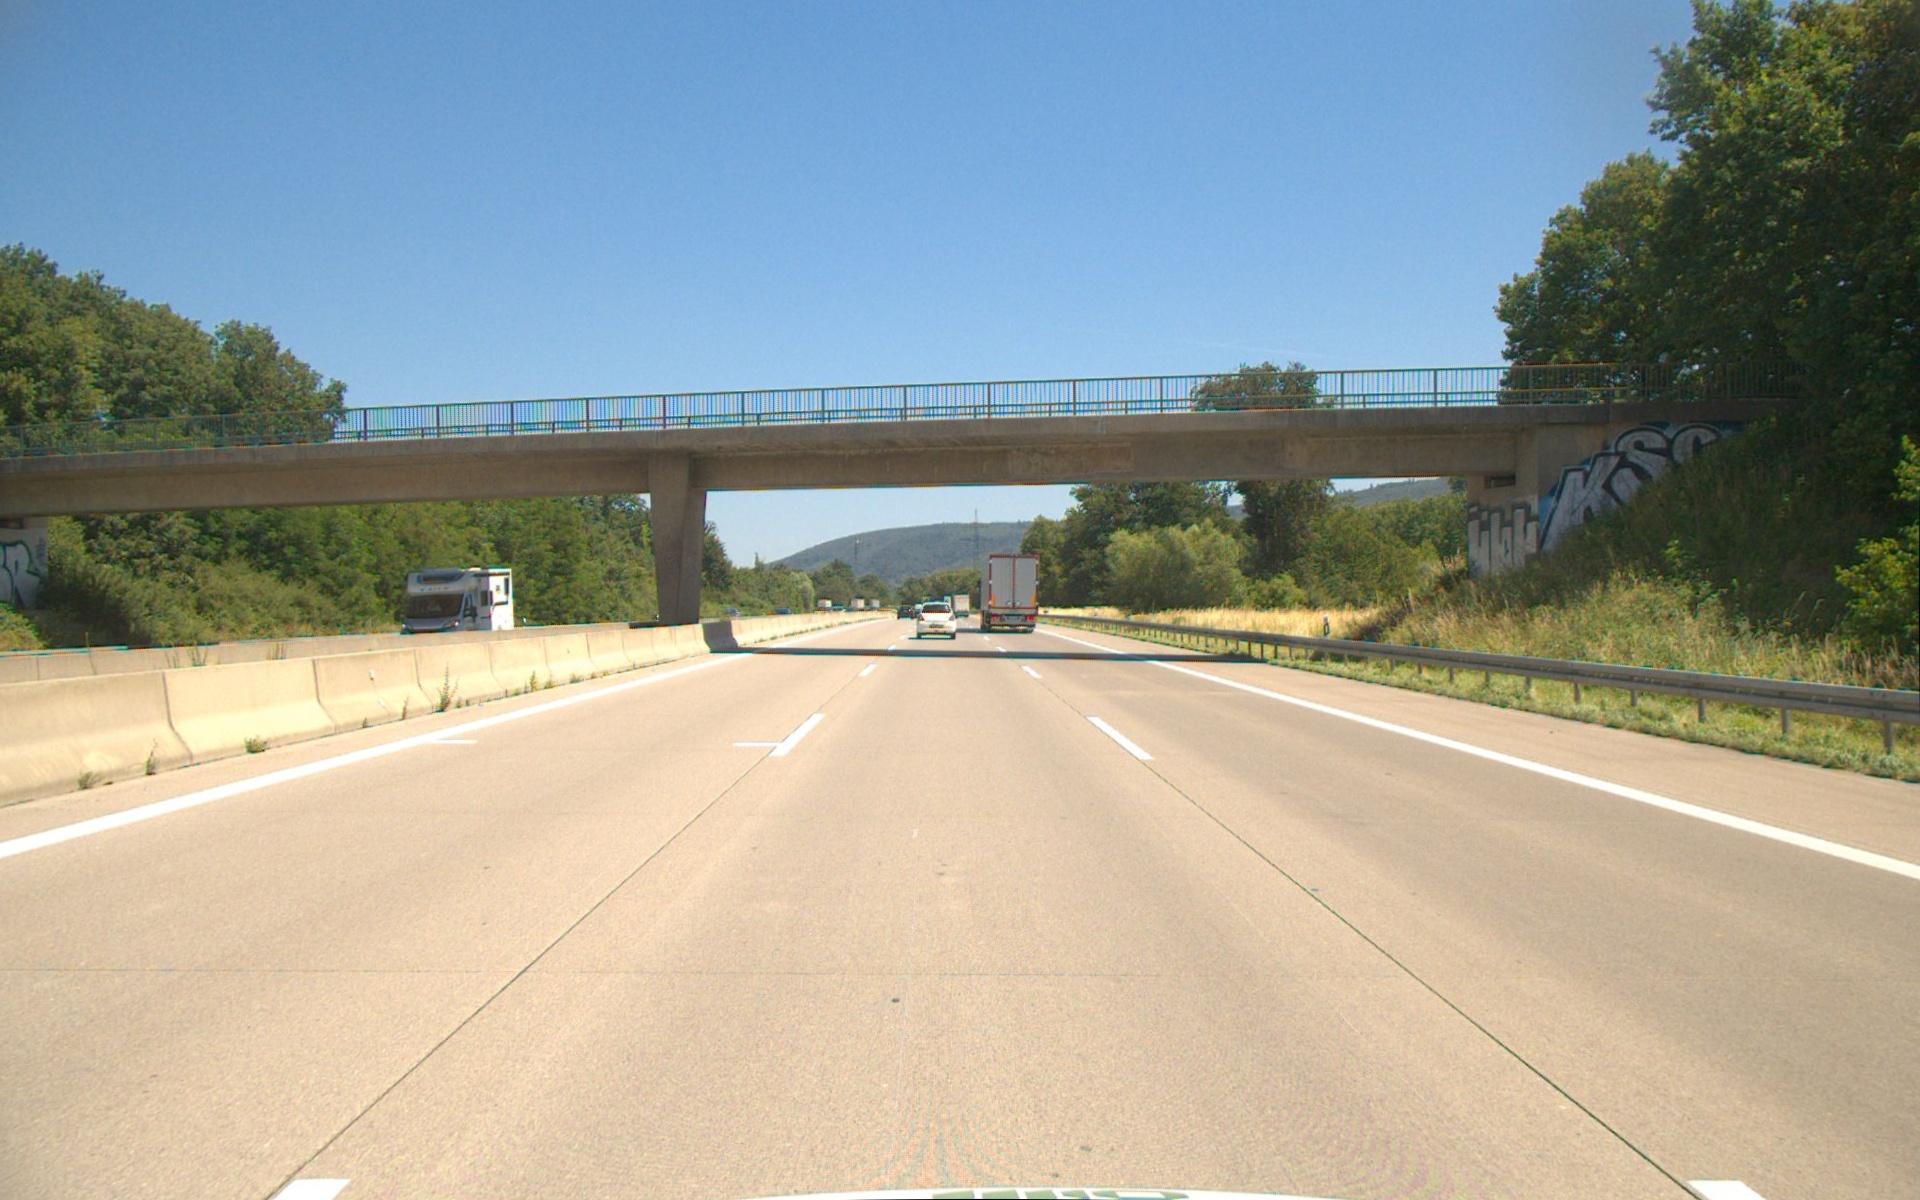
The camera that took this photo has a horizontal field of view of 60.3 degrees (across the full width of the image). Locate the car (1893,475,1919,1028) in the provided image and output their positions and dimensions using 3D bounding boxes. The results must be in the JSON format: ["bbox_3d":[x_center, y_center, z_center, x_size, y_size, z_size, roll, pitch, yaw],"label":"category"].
[{"bbox_3d":[4.288,0.535,3.293,1.841,1.922,5.279,0,0,-1],"label":"car"}]

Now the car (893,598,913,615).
[{"bbox_3d":[-6.159,0.663,177.830,1.982,1.730,3.997,2,0,-3],"label":"car"}]

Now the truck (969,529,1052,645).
[{"bbox_3d":[2.607,-0.666,93.222,3.505,5.889,18.239,0,0,-2],"label":"truck"}]

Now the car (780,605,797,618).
[{"bbox_3d":[-18.237,1.244,175.958,1.533,1.342,3.631,-1,0,-2],"label":"car"}]

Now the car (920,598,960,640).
[{"bbox_3d":[-0.837,0.789,70.051,1.608,1.691,3.359,1,0,-1],"label":"car"}]

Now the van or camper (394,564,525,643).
[{"bbox_3d":[-16.926,0.111,56.474,2.203,2.486,7.800,1,0,-1],"label":"van or camper"}]
